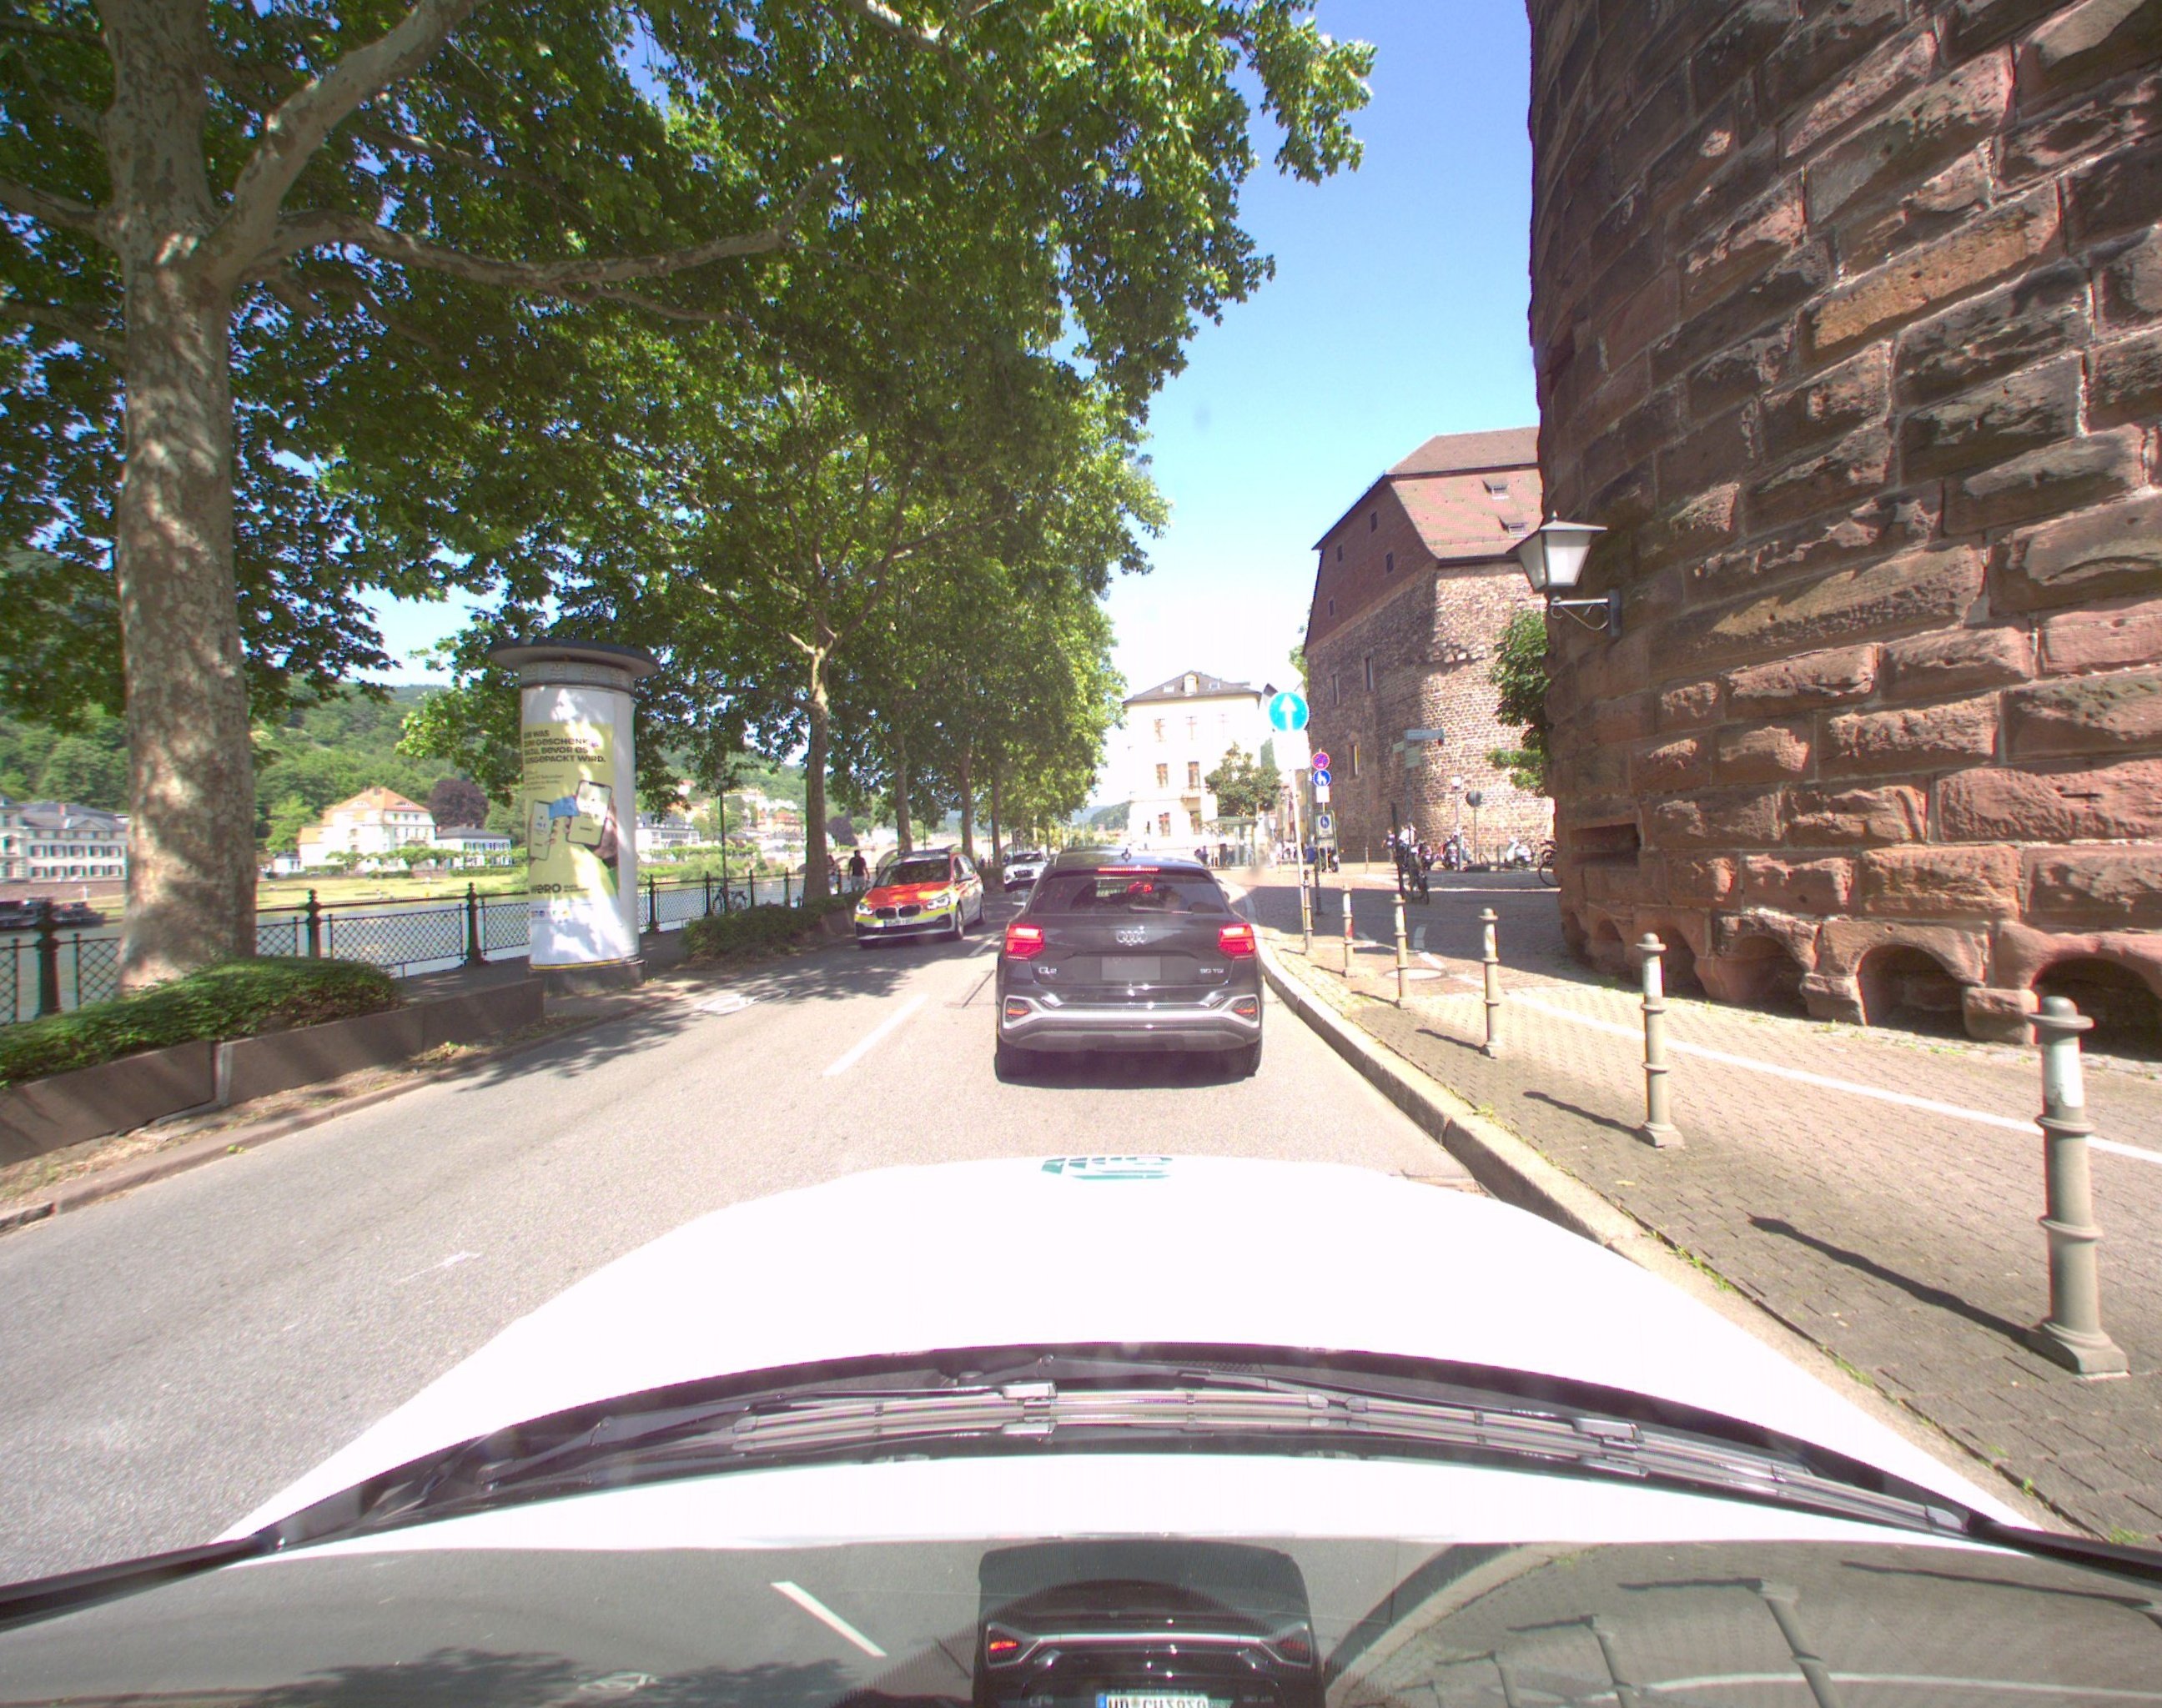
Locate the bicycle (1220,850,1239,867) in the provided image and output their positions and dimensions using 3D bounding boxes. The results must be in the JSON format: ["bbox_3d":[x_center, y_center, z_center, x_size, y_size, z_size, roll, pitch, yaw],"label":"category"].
[{"bbox_3d":[8.918,0.256,48.881,1.205,1.035,0.178,0,-1,-17],"label":"bicycle"}]

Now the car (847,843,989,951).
[{"bbox_3d":[-2.962,0.712,15.746,1.667,1.660,4.224,-5,0,1],"label":"car"}]

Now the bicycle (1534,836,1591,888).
[{"bbox_3d":[11.529,0.175,19.549,0.444,1.162,1.733,-2,0,5],"label":"bicycle"}]

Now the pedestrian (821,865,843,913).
[{"bbox_3d":[-7.257,1.010,23.701,0.476,1.362,0.418,0,0,5],"label":"pedestrian"}]

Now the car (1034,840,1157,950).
[{"bbox_3d":[0.262,0.596,13.595,1.786,1.595,3.400,0,0,2],"label":"car"}]

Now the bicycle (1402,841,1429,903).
[{"bbox_3d":[6.869,0.330,16.772,0.192,1.203,1.775,-2,1,13],"label":"bicycle"}]

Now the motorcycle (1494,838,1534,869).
[{"bbox_3d":[15.436,-0.001,29.072,0.505,1.073,1.841,-1,-1,2],"label":"motorcycle"}]

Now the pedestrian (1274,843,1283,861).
[{"bbox_3d":[17.351,-0.196,71.592,0.620,1.532,0.466,-1,-1,1],"label":"pedestrian"}]

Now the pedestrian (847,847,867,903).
[{"bbox_3d":[-7.564,0.707,27.487,0.532,1.887,0.437,0,0,1],"label":"pedestrian"}]

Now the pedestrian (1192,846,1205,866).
[{"bbox_3d":[6.930,0.119,48.028,0.662,1.211,0.640,0,-1,-5],"label":"pedestrian"}]

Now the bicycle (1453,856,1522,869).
[{"bbox_3d":[13.623,0.288,27.353,1.914,0.381,0.921,-2,-1,16],"label":"bicycle"}]

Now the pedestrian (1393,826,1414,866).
[{"bbox_3d":[15.344,-0.366,38.711,0.666,1.884,0.821,0,-1,1],"label":"pedestrian"}]

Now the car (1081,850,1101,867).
[{"bbox_3d":[1.114,0.542,90.690,1.985,1.806,4.003,-1,-1,3],"label":"car"}]

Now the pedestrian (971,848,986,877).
[{"bbox_3d":[-7.285,0.595,58.030,0.906,2.014,0.587,-1,-1,6],"label":"pedestrian"}]

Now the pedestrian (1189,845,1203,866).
[{"bbox_3d":[6.890,0.102,48.874,0.662,1.231,0.640,0,-1,-5],"label":"pedestrian"}]

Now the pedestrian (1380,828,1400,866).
[{"bbox_3d":[15.193,-0.340,40.066,0.649,1.802,0.847,-1,0,1],"label":"pedestrian"}]

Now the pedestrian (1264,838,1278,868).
[{"bbox_3d":[11.877,-0.047,50.865,0.744,1.890,0.753,-1,-1,4],"label":"pedestrian"}]

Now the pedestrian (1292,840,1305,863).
[{"bbox_3d":[19.223,-0.232,72.023,0.936,2.014,0.808,-1,-1,2],"label":"pedestrian"}]

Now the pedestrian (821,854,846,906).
[{"bbox_3d":[-8.281,0.869,27.246,0.599,1.685,0.583,-3,0,0],"label":"pedestrian"}]

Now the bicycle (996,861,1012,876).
[{"bbox_3d":[-5.293,1.027,56.068,1.091,1.006,0.303,-1,-1,-5],"label":"bicycle"}]

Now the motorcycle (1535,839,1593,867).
[{"bbox_3d":[18.267,-0.032,30.825,1.854,1.054,0.481,-1,-1,9],"label":"motorcycle"}]

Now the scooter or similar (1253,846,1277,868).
[{"bbox_3d":[8.881,0.145,39.369,1.085,1.066,0.323,0,-1,-1],"label":"scooter or similar"}]

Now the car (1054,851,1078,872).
[{"bbox_3d":[-1.413,0.681,78.427,1.806,1.725,4.423,-8,0,2],"label":"car"}]

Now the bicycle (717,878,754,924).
[{"bbox_3d":[-8.885,1.190,20.960,0.358,1.091,1.296,1,0,1],"label":"bicycle"}]

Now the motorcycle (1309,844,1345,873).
[{"bbox_3d":[9.059,0.156,30.062,0.564,1.012,2.490,-3,0,1],"label":"motorcycle"}]

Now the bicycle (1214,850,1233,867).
[{"bbox_3d":[8.651,0.251,49.503,1.187,1.016,0.178,0,-1,-17],"label":"bicycle"}]

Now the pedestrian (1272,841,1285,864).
[{"bbox_3d":[17.870,-0.130,73.600,0.941,2.014,0.808,-1,-1,2],"label":"pedestrian"}]

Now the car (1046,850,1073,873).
[{"bbox_3d":[-1.639,0.541,63.709,1.732,1.572,4.093,-6,0,2],"label":"car"}]

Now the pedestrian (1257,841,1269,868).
[{"bbox_3d":[9.485,0.011,42.424,0.555,1.385,0.588,-1,-1,4],"label":"pedestrian"}]

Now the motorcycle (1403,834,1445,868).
[{"bbox_3d":[12.857,-0.090,30.598,0.672,1.235,2.313,-1,-1,2],"label":"motorcycle"}]

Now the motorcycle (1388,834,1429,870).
[{"bbox_3d":[11.979,-0.061,29.871,0.653,1.266,2.201,-2,-1,2],"label":"motorcycle"}]

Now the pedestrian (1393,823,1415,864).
[{"bbox_3d":[15.991,-0.519,40.298,0.727,2.014,0.878,0,-1,1],"label":"pedestrian"}]

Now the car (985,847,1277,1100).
[{"bbox_3d":[0.353,0.702,6.695,1.736,1.509,3.649,0,0,2],"label":"car"}]

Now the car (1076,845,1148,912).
[{"bbox_3d":[0.820,0.589,21.625,1.704,1.609,3.656,-1,0,2],"label":"car"}]

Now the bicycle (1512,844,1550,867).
[{"bbox_3d":[16.631,0.051,30.142,0.352,0.820,1.926,0,1,1],"label":"bicycle"}]

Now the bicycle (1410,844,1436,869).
[{"bbox_3d":[16.808,0.140,40.046,0.388,1.209,1.715,0,-1,-6],"label":"bicycle"}]

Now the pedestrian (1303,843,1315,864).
[{"bbox_3d":[18.533,-0.063,66.183,0.684,1.612,0.897,-4,0,28],"label":"pedestrian"}]

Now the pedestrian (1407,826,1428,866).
[{"bbox_3d":[16.175,-0.372,39.147,0.666,1.920,0.821,0,-1,1],"label":"pedestrian"}]

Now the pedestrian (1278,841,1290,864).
[{"bbox_3d":[18.034,-0.147,72.343,0.836,2.014,0.738,-1,-1,2],"label":"pedestrian"}]

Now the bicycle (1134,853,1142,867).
[{"bbox_3d":[4.350,0.464,62.418,0.436,1.086,1.675,0,-1,-2],"label":"bicycle"}]

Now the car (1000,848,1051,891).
[{"bbox_3d":[-2.352,0.634,35.548,1.762,1.660,4.001,-4,0,1],"label":"car"}]

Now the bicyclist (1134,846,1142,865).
[{"bbox_3d":[4.372,0.121,62.455,0.604,1.450,0.590,0,-1,-3],"label":"bicyclist"}]

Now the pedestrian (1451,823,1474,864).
[{"bbox_3d":[15.877,-0.431,33.877,0.799,1.662,0.660,-3,0,26],"label":"pedestrian"}]

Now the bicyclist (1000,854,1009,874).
[{"bbox_3d":[-5.294,0.690,56.087,0.565,1.311,0.551,0,-1,-3],"label":"bicyclist"}]

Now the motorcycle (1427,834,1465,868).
[{"bbox_3d":[13.701,-0.110,30.605,0.544,1.235,2.031,-1,-1,2],"label":"motorcycle"}]
